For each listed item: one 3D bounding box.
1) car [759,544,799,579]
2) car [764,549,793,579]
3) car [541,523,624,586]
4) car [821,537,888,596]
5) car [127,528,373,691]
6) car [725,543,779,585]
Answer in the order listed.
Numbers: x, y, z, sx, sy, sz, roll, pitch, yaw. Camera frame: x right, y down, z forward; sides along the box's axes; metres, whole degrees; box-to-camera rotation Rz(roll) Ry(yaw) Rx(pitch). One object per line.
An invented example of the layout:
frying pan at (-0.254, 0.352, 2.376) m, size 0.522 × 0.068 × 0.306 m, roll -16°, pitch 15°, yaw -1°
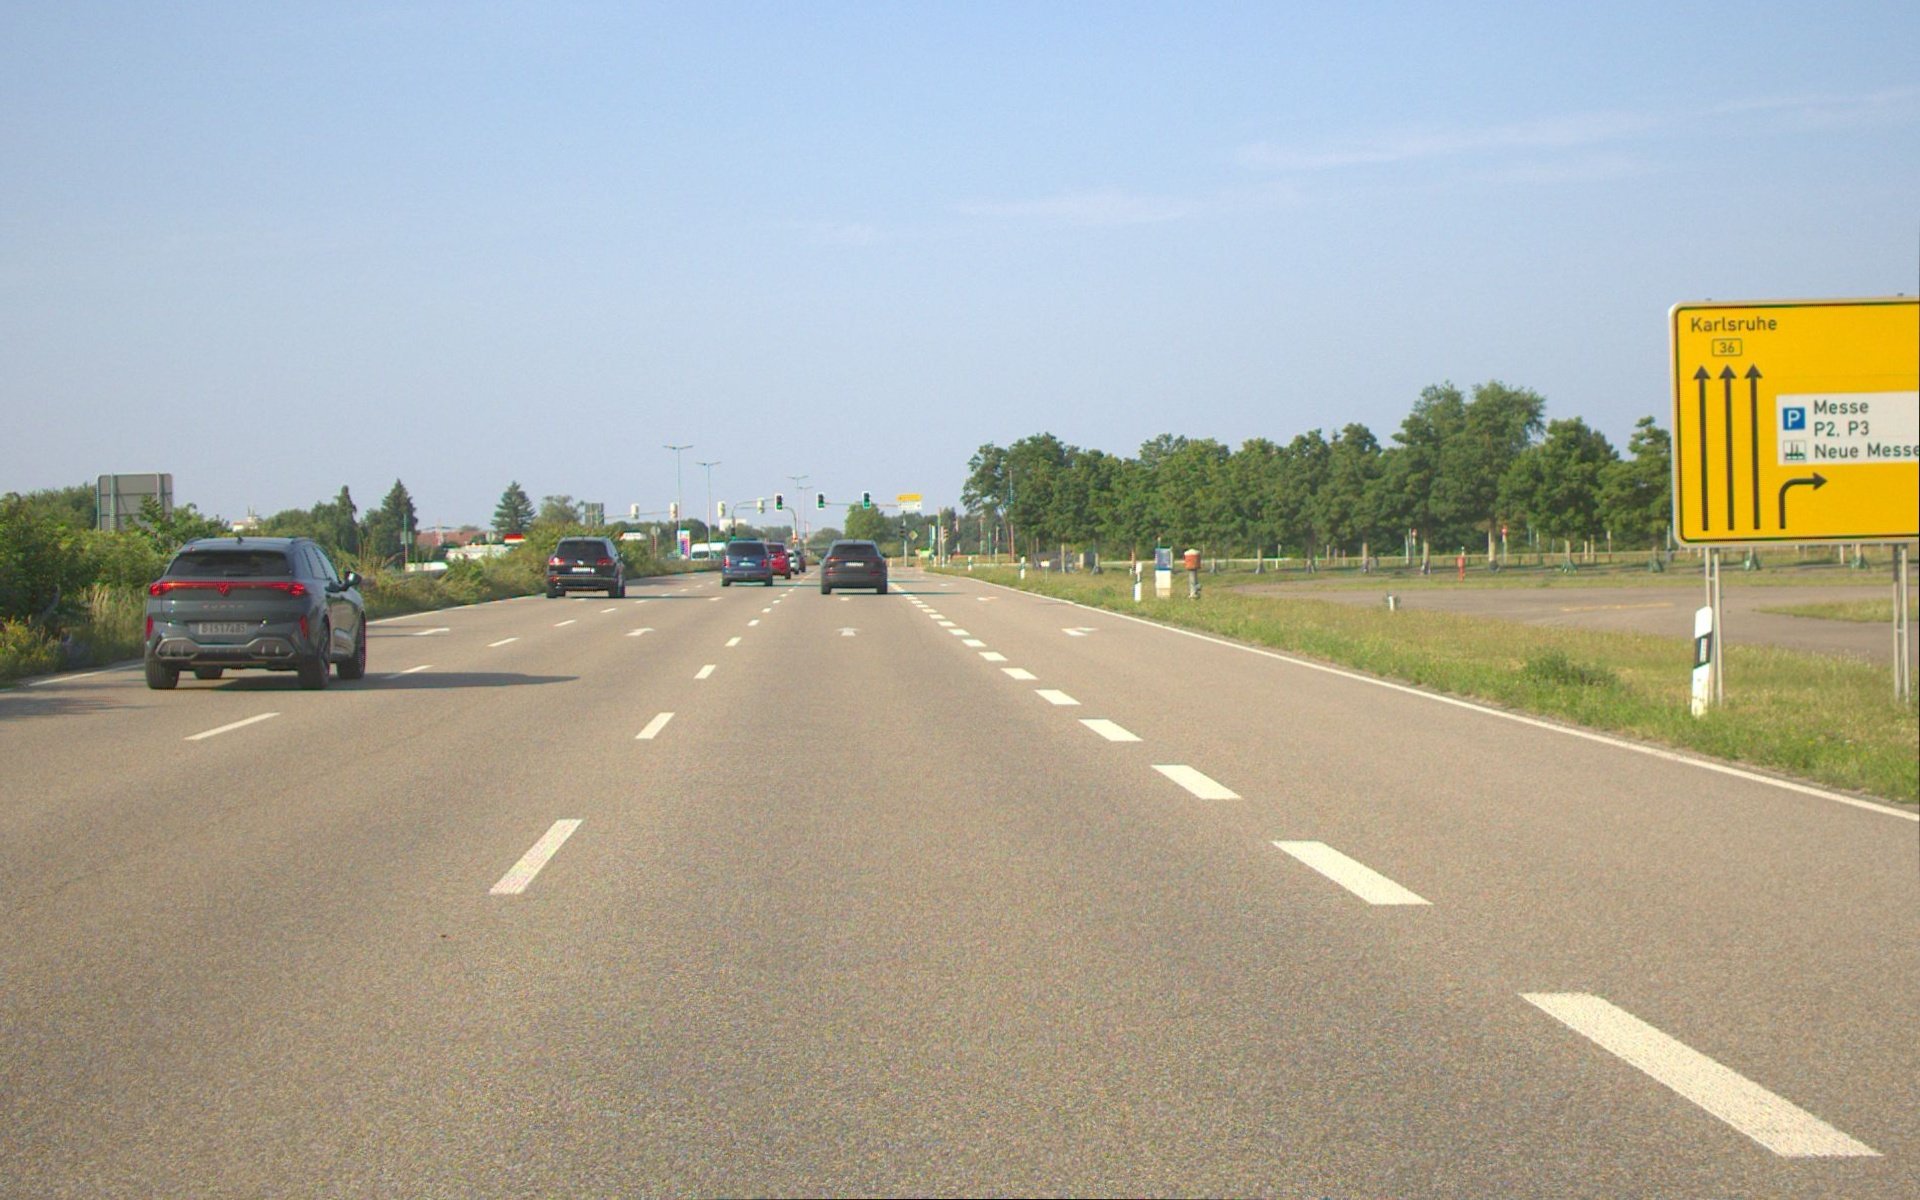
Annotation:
car at (-7.877, -1.699, 149.959) m, size 1.647 × 1.458 × 3.981 m, roll 1°, pitch 1°, yaw -2°
car at (-10.490, -2.072, 198.426) m, size 1.645 × 1.722 × 3.401 m, roll 0°, pitch 0°, yaw -3°
car at (-10.395, -1.266, 94.890) m, size 1.932 × 1.674 × 4.401 m, roll 1°, pitch 1°, yaw -2°
car at (-3.156, -1.022, 102.777) m, size 1.932 × 1.674 × 4.401 m, roll 1°, pitch 1°, yaw -2°
car at (-7.556, 0.060, 36.967) m, size 1.845 × 1.606 × 4.401 m, roll 1°, pitch 1°, yaw -2°
car at (-7.536, -1.311, 124.891) m, size 1.812 × 1.458 × 4.401 m, roll 1°, pitch 1°, yaw -2°
